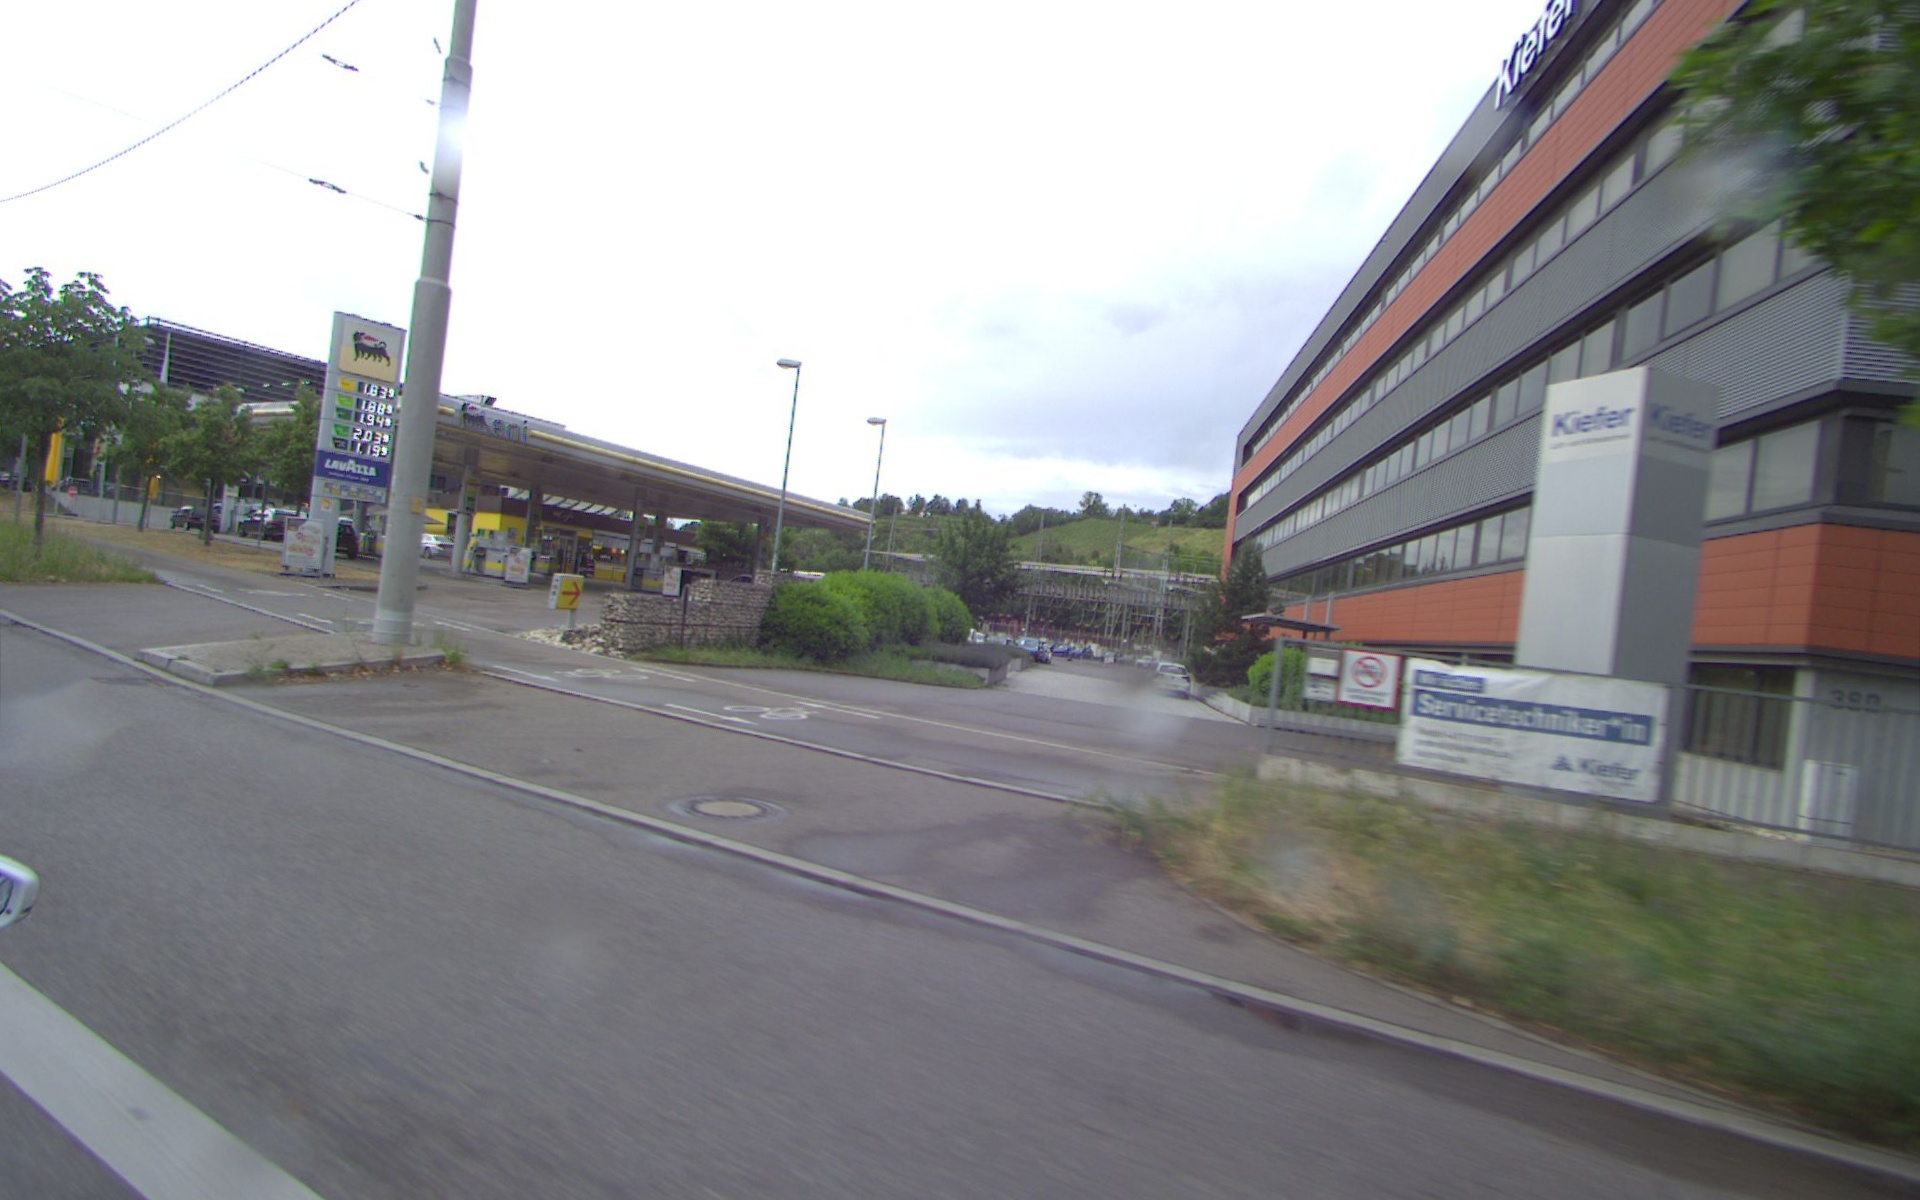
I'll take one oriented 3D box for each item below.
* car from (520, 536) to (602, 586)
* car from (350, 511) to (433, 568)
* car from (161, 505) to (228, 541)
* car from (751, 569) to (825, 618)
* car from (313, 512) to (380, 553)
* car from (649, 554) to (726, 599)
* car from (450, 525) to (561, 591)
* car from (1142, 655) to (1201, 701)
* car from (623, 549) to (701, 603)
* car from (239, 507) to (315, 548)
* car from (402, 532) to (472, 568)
[{"bbox_3d":[-20.570,-2.005,51.824,3.711,2.036,1.875,7,-3,32],"label":"car"},{"bbox_3d":[-25.024,-2.678,44.264,3.488,2.036,1.681,6,-3,37],"label":"car"},{"bbox_3d":[-43.789,-4.401,57.537,3.937,1.610,1.793,7,-1,35],"label":"car"},{"bbox_3d":[-9.293,-0.365,54.333,3.494,2.137,1.694,7,-3,32],"label":"car"},{"bbox_3d":[-38.155,-4.209,62.527,3.937,2.038,1.995,7,-1,35],"label":"car"},{"bbox_3d":[-16.052,-1.383,59.278,3.934,2.036,1.999,7,-3,32],"label":"car"},{"bbox_3d":[-17.575,-1.631,38.853,3.936,2.057,1.995,7,0,34],"label":"car"},{"bbox_3d":[9.403,3.472,45.036,1.962,1.655,4.007,8,-3,6],"label":"car"},{"bbox_3d":[-13.811,-1.102,46.533,3.088,2.036,1.678,7,-3,35],"label":"car"},{"bbox_3d":[-37.266,-3.968,54.856,3.937,1.748,1.995,7,-1,35],"label":"car"},{"bbox_3d":[-31.133,-2.981,59.898,3.937,1.615,1.995,7,-1,35],"label":"car"}]
